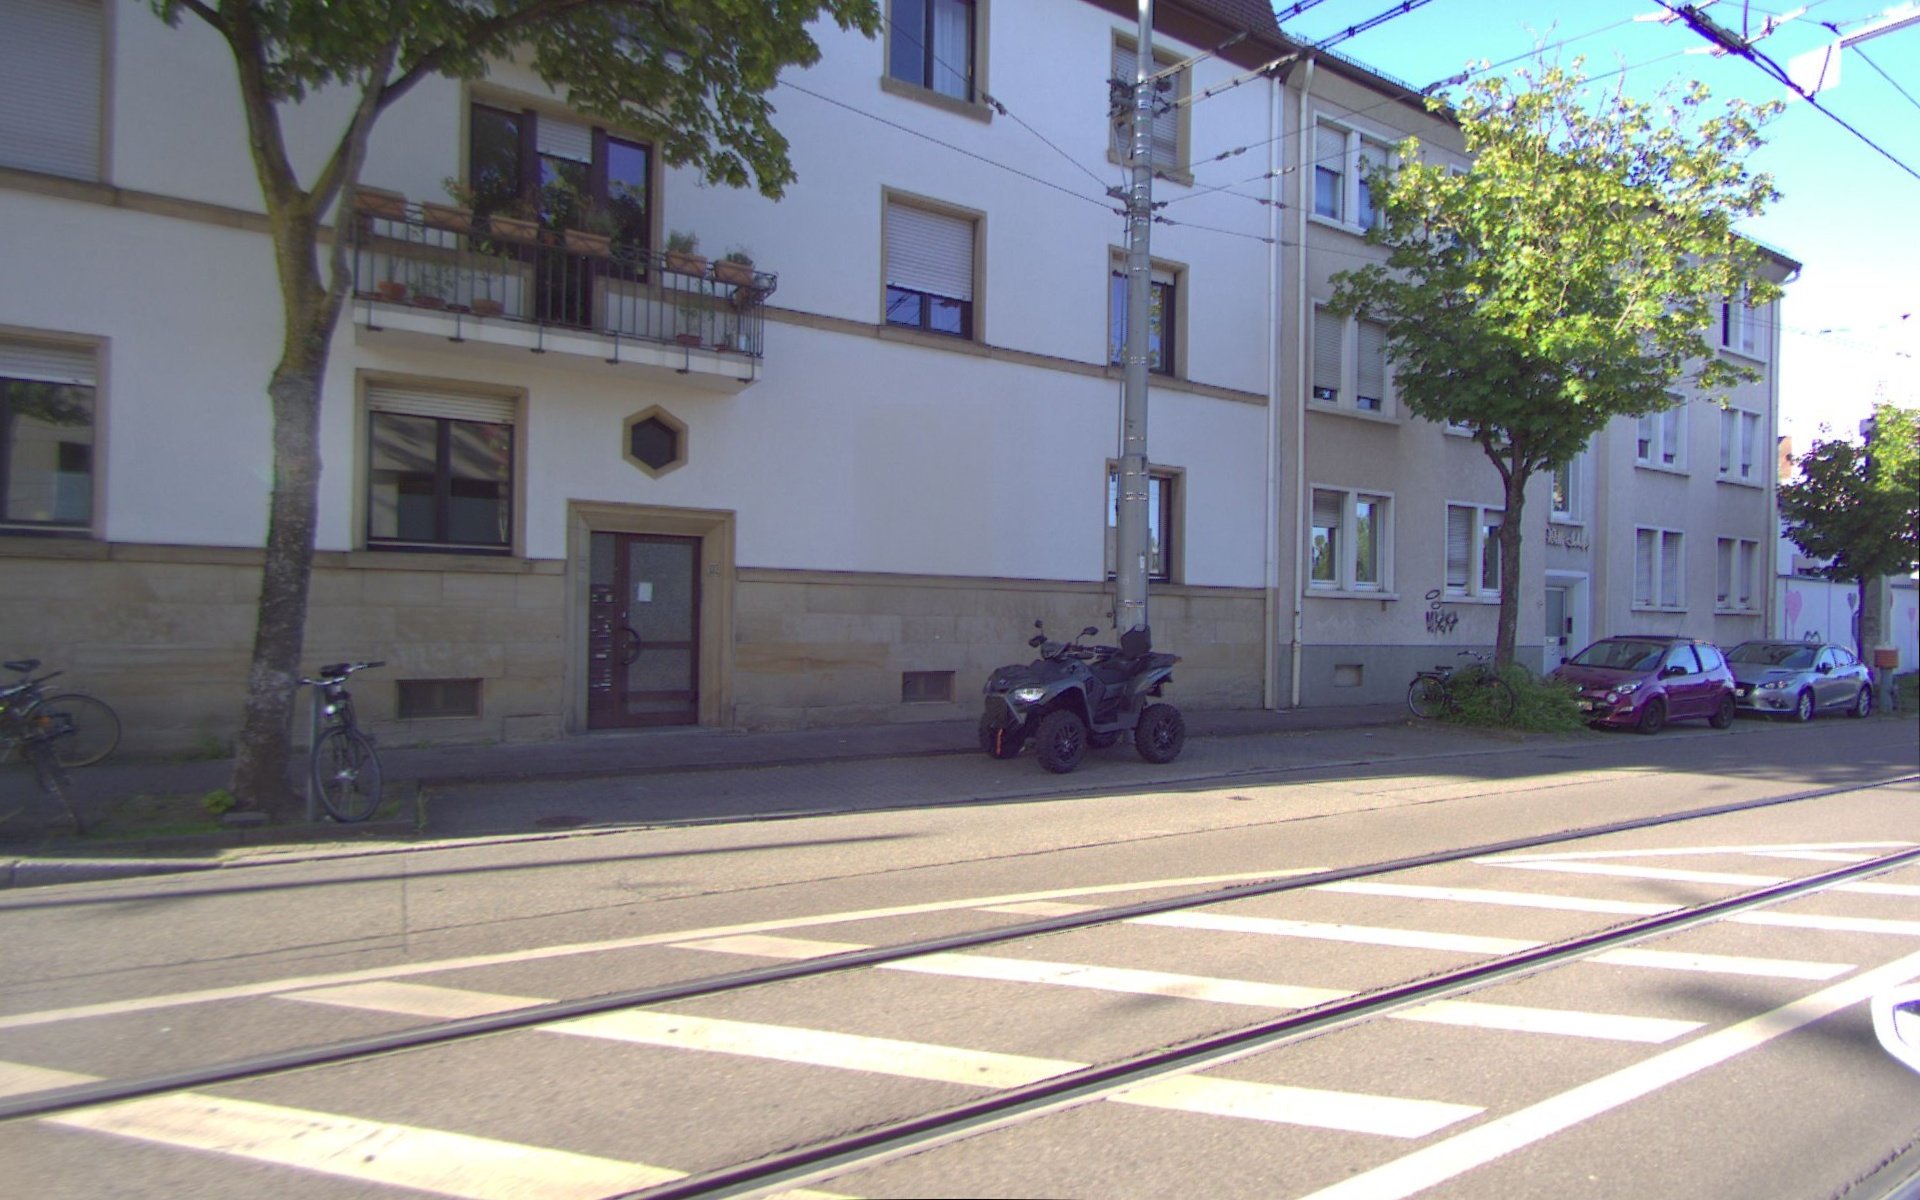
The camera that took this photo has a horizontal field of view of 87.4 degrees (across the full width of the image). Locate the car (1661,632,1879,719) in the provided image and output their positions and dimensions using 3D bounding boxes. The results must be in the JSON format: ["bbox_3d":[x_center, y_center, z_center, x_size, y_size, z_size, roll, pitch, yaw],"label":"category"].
[{"bbox_3d":[15.671,1.404,19.398,4.242,1.448,1.864,2,0,-30],"label":"car"}]

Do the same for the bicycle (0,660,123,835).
[{"bbox_3d":[-6.205,0.900,6.123,1.642,1.056,0.301,2,0,-30],"label":"bicycle"}]

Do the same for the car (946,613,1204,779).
[{"bbox_3d":[1.275,0.955,11.038,2.516,1.523,1.349,-1,2,-30],"label":"car"}]

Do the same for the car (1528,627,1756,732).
[{"bbox_3d":[11.396,1.271,16.730,3.953,1.525,1.564,2,0,-30],"label":"car"}]

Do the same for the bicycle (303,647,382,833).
[{"bbox_3d":[-4.545,0.973,7.438,0.404,1.185,1.335,2,0,-29],"label":"bicycle"}]

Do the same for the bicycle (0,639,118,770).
[{"bbox_3d":[-8.026,0.854,8.250,1.642,1.056,0.301,2,0,-30],"label":"bicycle"}]
